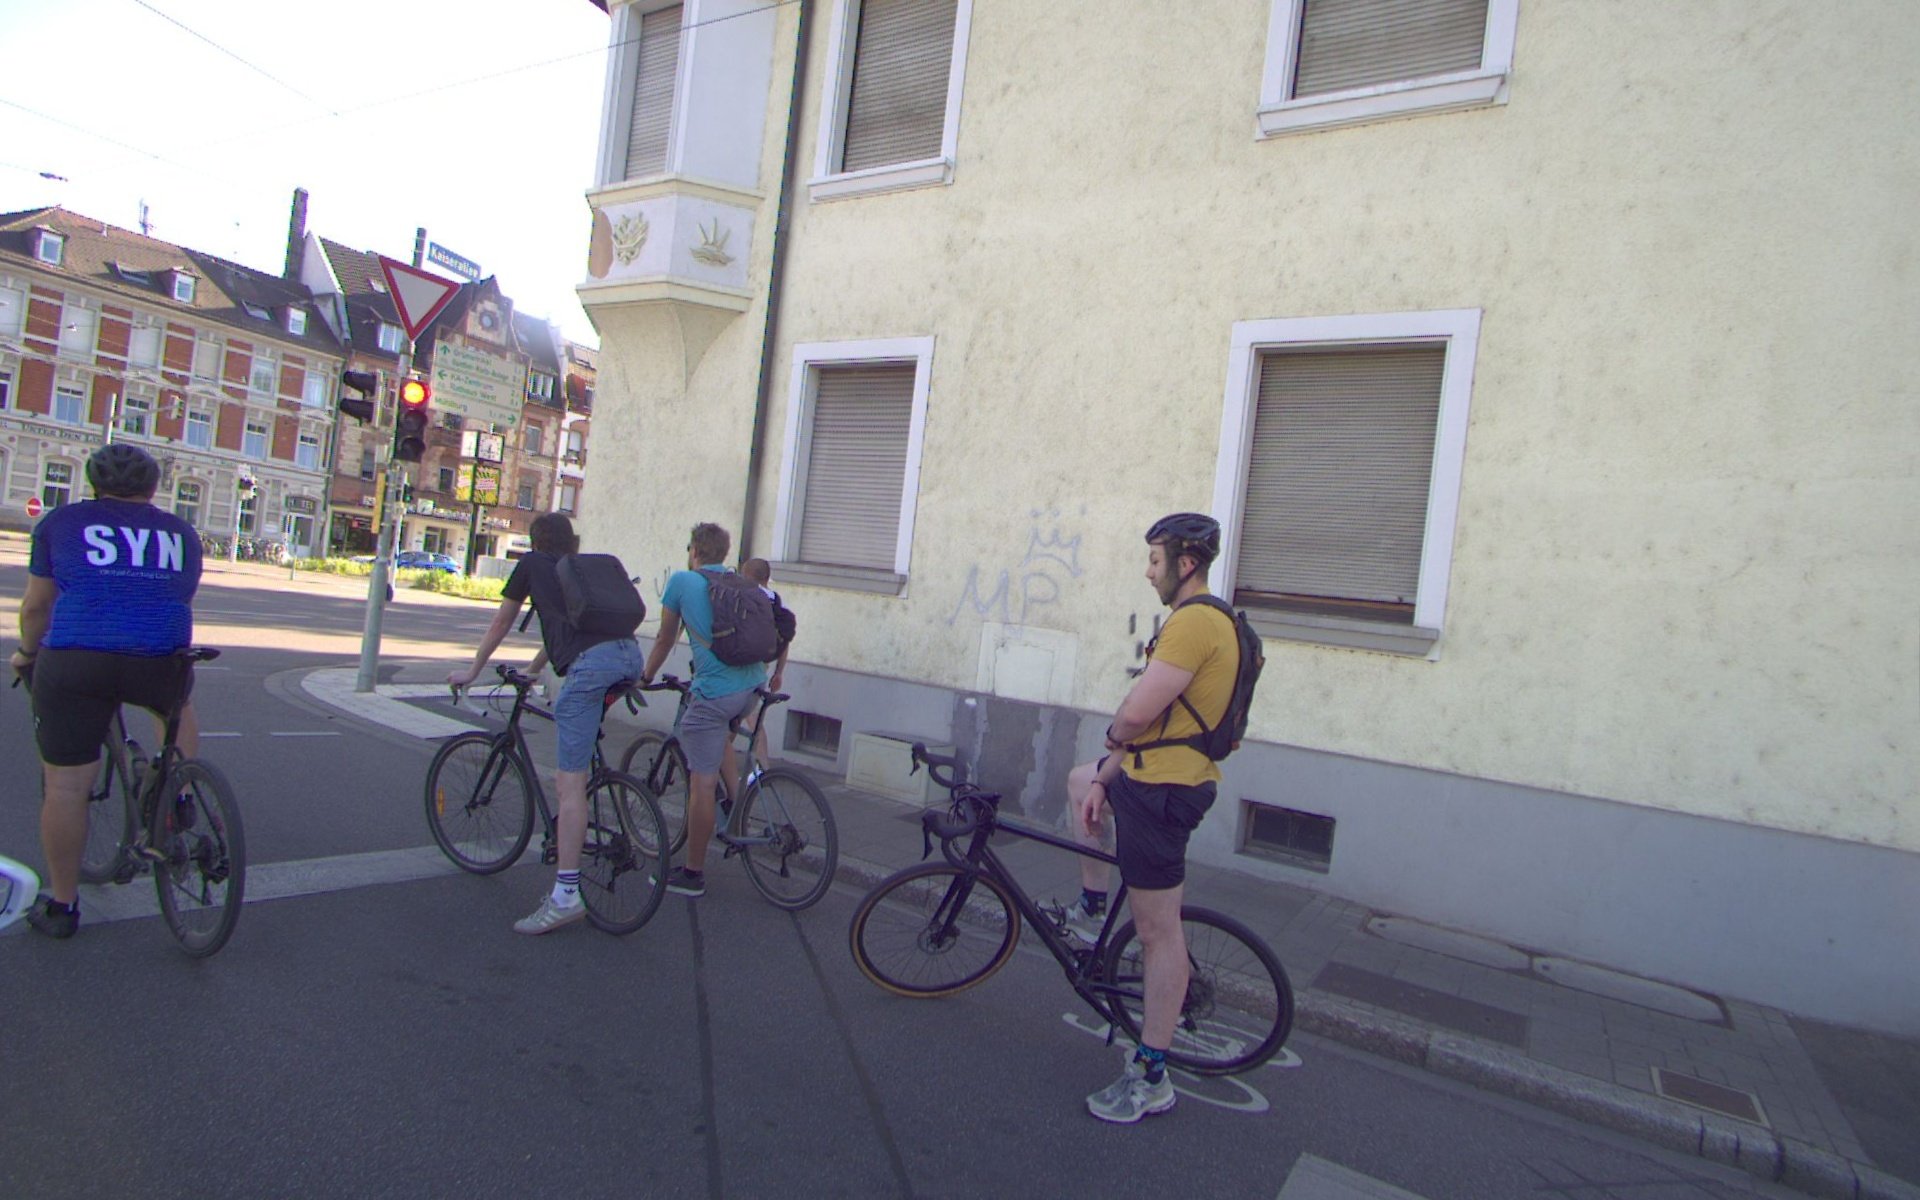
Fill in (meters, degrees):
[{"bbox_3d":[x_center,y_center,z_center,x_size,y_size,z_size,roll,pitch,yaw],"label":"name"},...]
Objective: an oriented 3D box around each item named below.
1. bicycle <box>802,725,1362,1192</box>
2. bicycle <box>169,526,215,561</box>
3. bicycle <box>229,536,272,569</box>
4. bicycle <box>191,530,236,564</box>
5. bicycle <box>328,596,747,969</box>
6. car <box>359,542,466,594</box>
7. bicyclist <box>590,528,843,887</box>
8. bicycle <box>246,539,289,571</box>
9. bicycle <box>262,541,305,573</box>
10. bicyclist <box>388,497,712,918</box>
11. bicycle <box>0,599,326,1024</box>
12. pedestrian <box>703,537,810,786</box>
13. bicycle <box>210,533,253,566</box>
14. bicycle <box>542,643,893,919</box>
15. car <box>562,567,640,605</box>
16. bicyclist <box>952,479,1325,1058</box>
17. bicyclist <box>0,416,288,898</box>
[{"bbox_3d":[0.397,1.107,3.629,1.751,1.043,0.756,6,-2,33],"label":"bicycle"},{"bbox_3d":[-34.650,-2.557,45.397,2.618,1.301,0.693,6,-1,33],"label":"bicycle"},{"bbox_3d":[-33.410,-2.226,47.363,2.618,1.301,0.629,6,-1,33],"label":"bicycle"},{"bbox_3d":[-34.190,-2.416,46.066,2.618,1.301,0.693,6,-1,33],"label":"bicycle"},{"bbox_3d":[-1.918,0.720,4.524,1.674,1.251,0.756,6,-1,30],"label":"bicycle"},{"bbox_3d":[-25.458,-1.449,46.905,1.967,1.798,3.790,6,-2,31],"label":"car"},{"bbox_3d":[-1.265,0.520,5.254,0.869,1.652,0.690,6,-1,34],"label":"bicyclist"},{"bbox_3d":[-33.044,-2.154,47.992,2.618,1.301,0.629,6,-1,33],"label":"bicycle"},{"bbox_3d":[-32.675,-2.077,48.581,2.618,1.301,0.629,6,-1,33],"label":"bicycle"},{"bbox_3d":[-1.814,0.437,4.511,0.868,1.625,0.807,7,-1,30],"label":"bicyclist"},{"bbox_3d":[-3.074,0.630,3.621,1.676,1.097,0.627,6,-1,35],"label":"bicycle"},{"bbox_3d":[-1.523,0.448,7.610,0.631,1.780,0.584,4,3,-7],"label":"pedestrian"},{"bbox_3d":[-33.823,-2.343,46.691,2.618,1.301,0.629,6,-1,33],"label":"bicycle"},{"bbox_3d":[-1.296,0.862,5.245,1.742,1.043,0.650,6,-1,33],"label":"bicycle"},{"bbox_3d":[-23.238,-0.881,65.285,1.967,1.798,4.374,6,-2,31],"label":"car"},{"bbox_3d":[0.648,0.504,3.524,0.869,1.682,0.807,6,-1,32],"label":"bicyclist"},{"bbox_3d":[-3.075,0.166,3.643,0.869,1.512,0.639,9,0,36],"label":"bicyclist"}]
